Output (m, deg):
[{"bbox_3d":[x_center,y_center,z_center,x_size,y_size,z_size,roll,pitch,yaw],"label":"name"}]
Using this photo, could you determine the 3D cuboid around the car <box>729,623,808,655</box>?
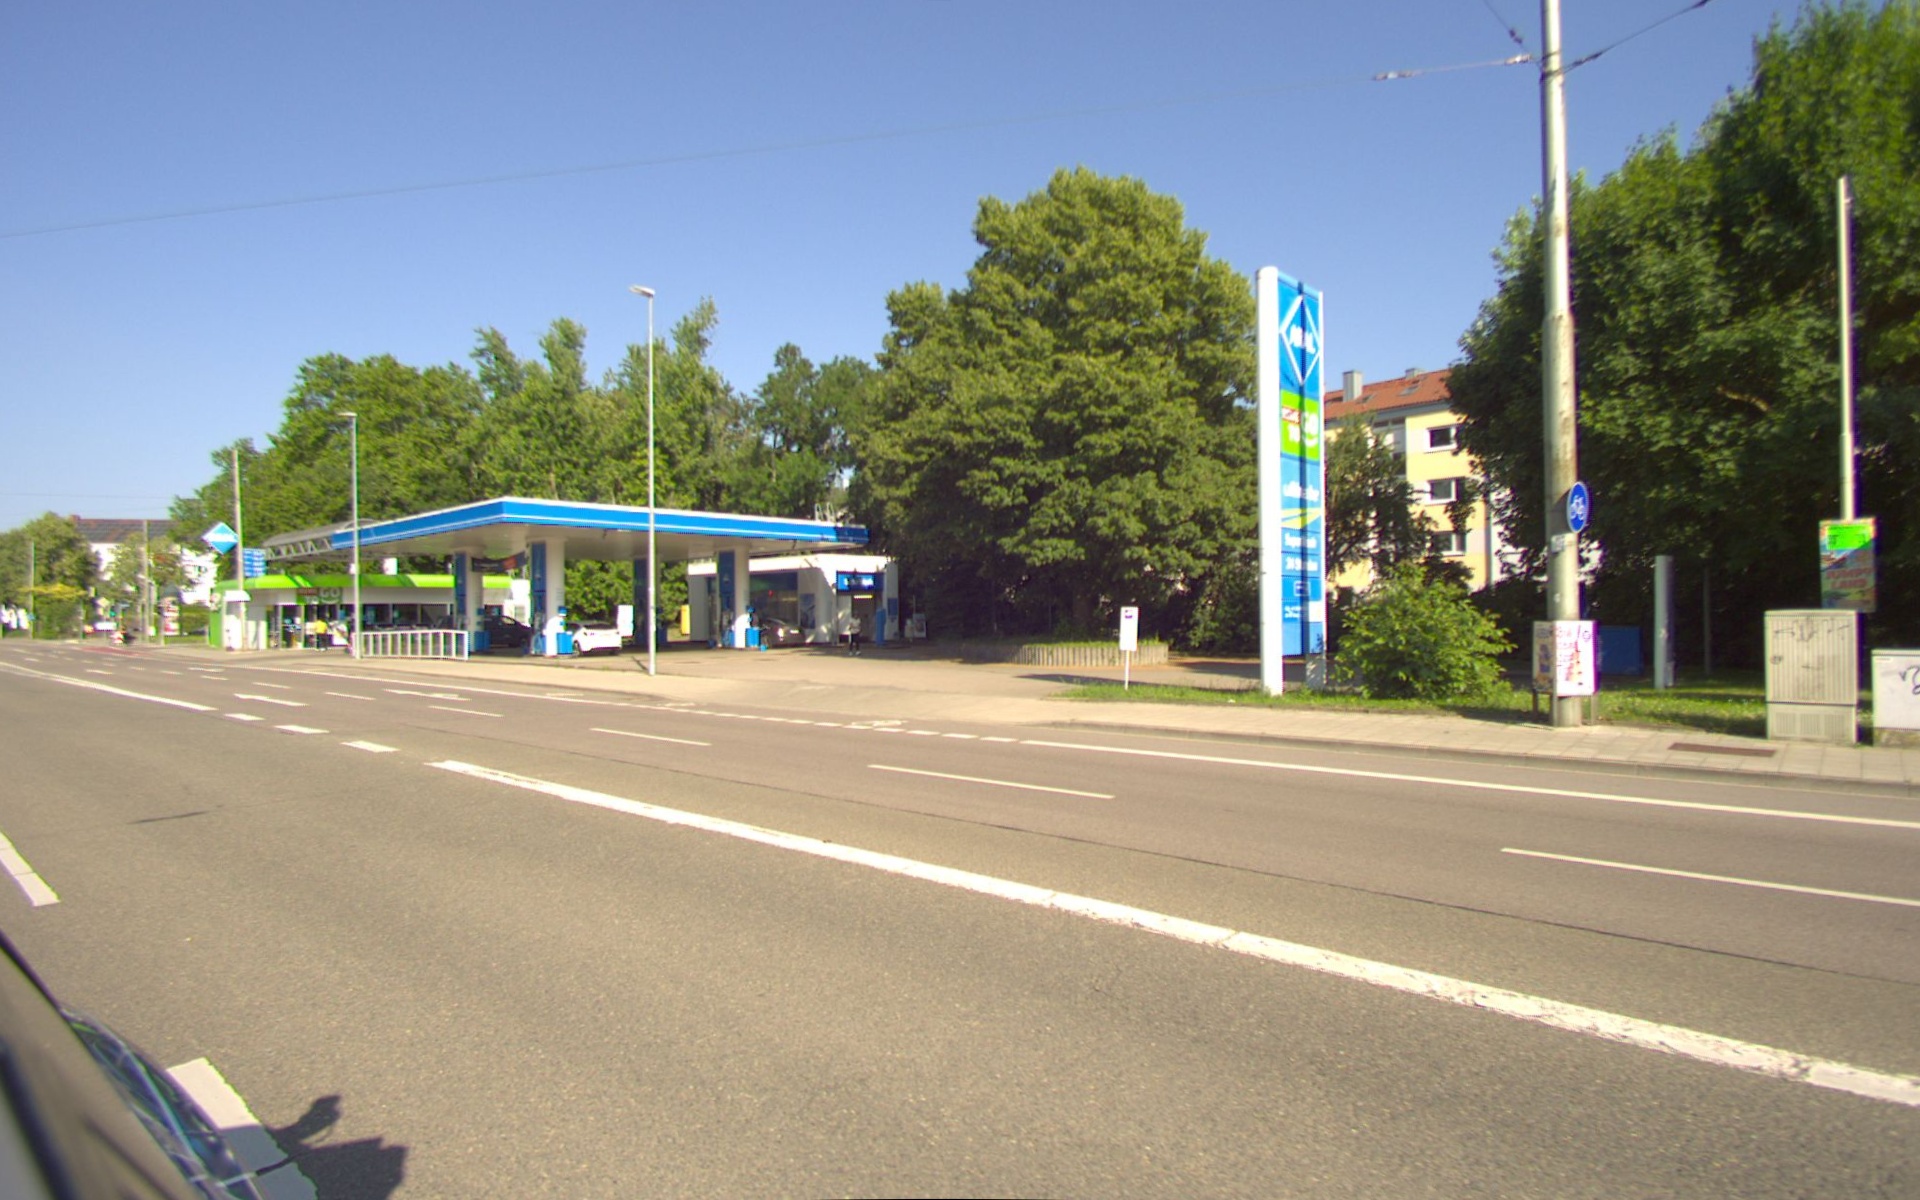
[{"bbox_3d":[-9.173,1.862,48.356,4.001,1.457,1.717,-2,-2,44],"label":"car"}]

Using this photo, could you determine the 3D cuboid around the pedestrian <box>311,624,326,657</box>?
[{"bbox_3d":[-33.563,2.110,52.948,0.594,1.744,0.665,0,-2,-28],"label":"pedestrian"}]

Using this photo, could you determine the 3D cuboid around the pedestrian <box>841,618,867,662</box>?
[{"bbox_3d":[-4.254,1.596,40.511,0.810,1.726,1.069,0,-2,-18],"label":"pedestrian"}]

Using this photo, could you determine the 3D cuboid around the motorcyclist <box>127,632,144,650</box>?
[{"bbox_3d":[-64.219,3.169,78.834,0.722,1.399,0.867,0,-2,-15],"label":"motorcyclist"}]

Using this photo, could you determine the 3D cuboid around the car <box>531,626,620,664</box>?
[{"bbox_3d":[-15.992,1.829,42.047,4.273,1.502,1.718,-2,-2,42],"label":"car"}]

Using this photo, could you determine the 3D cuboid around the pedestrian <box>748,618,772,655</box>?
[{"bbox_3d":[-9.355,1.697,47.362,0.795,1.703,0.807,-2,-2,41],"label":"pedestrian"}]

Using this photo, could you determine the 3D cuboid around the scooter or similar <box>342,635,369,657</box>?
[{"bbox_3d":[-31.024,2.362,51.926,1.127,1.125,0.351,1,-2,-40],"label":"scooter or similar"}]

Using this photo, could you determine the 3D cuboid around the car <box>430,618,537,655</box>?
[{"bbox_3d":[-26.288,1.976,55.966,5.012,1.955,1.858,1,-2,-45],"label":"car"}]

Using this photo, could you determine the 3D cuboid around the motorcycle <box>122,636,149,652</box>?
[{"bbox_3d":[-64.214,3.433,78.834,0.722,1.237,2.270,0,-2,-15],"label":"motorcycle"}]

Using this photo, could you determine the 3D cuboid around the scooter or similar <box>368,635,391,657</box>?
[{"bbox_3d":[-30.231,2.370,52.699,1.016,1.118,0.351,1,-2,-42],"label":"scooter or similar"}]
